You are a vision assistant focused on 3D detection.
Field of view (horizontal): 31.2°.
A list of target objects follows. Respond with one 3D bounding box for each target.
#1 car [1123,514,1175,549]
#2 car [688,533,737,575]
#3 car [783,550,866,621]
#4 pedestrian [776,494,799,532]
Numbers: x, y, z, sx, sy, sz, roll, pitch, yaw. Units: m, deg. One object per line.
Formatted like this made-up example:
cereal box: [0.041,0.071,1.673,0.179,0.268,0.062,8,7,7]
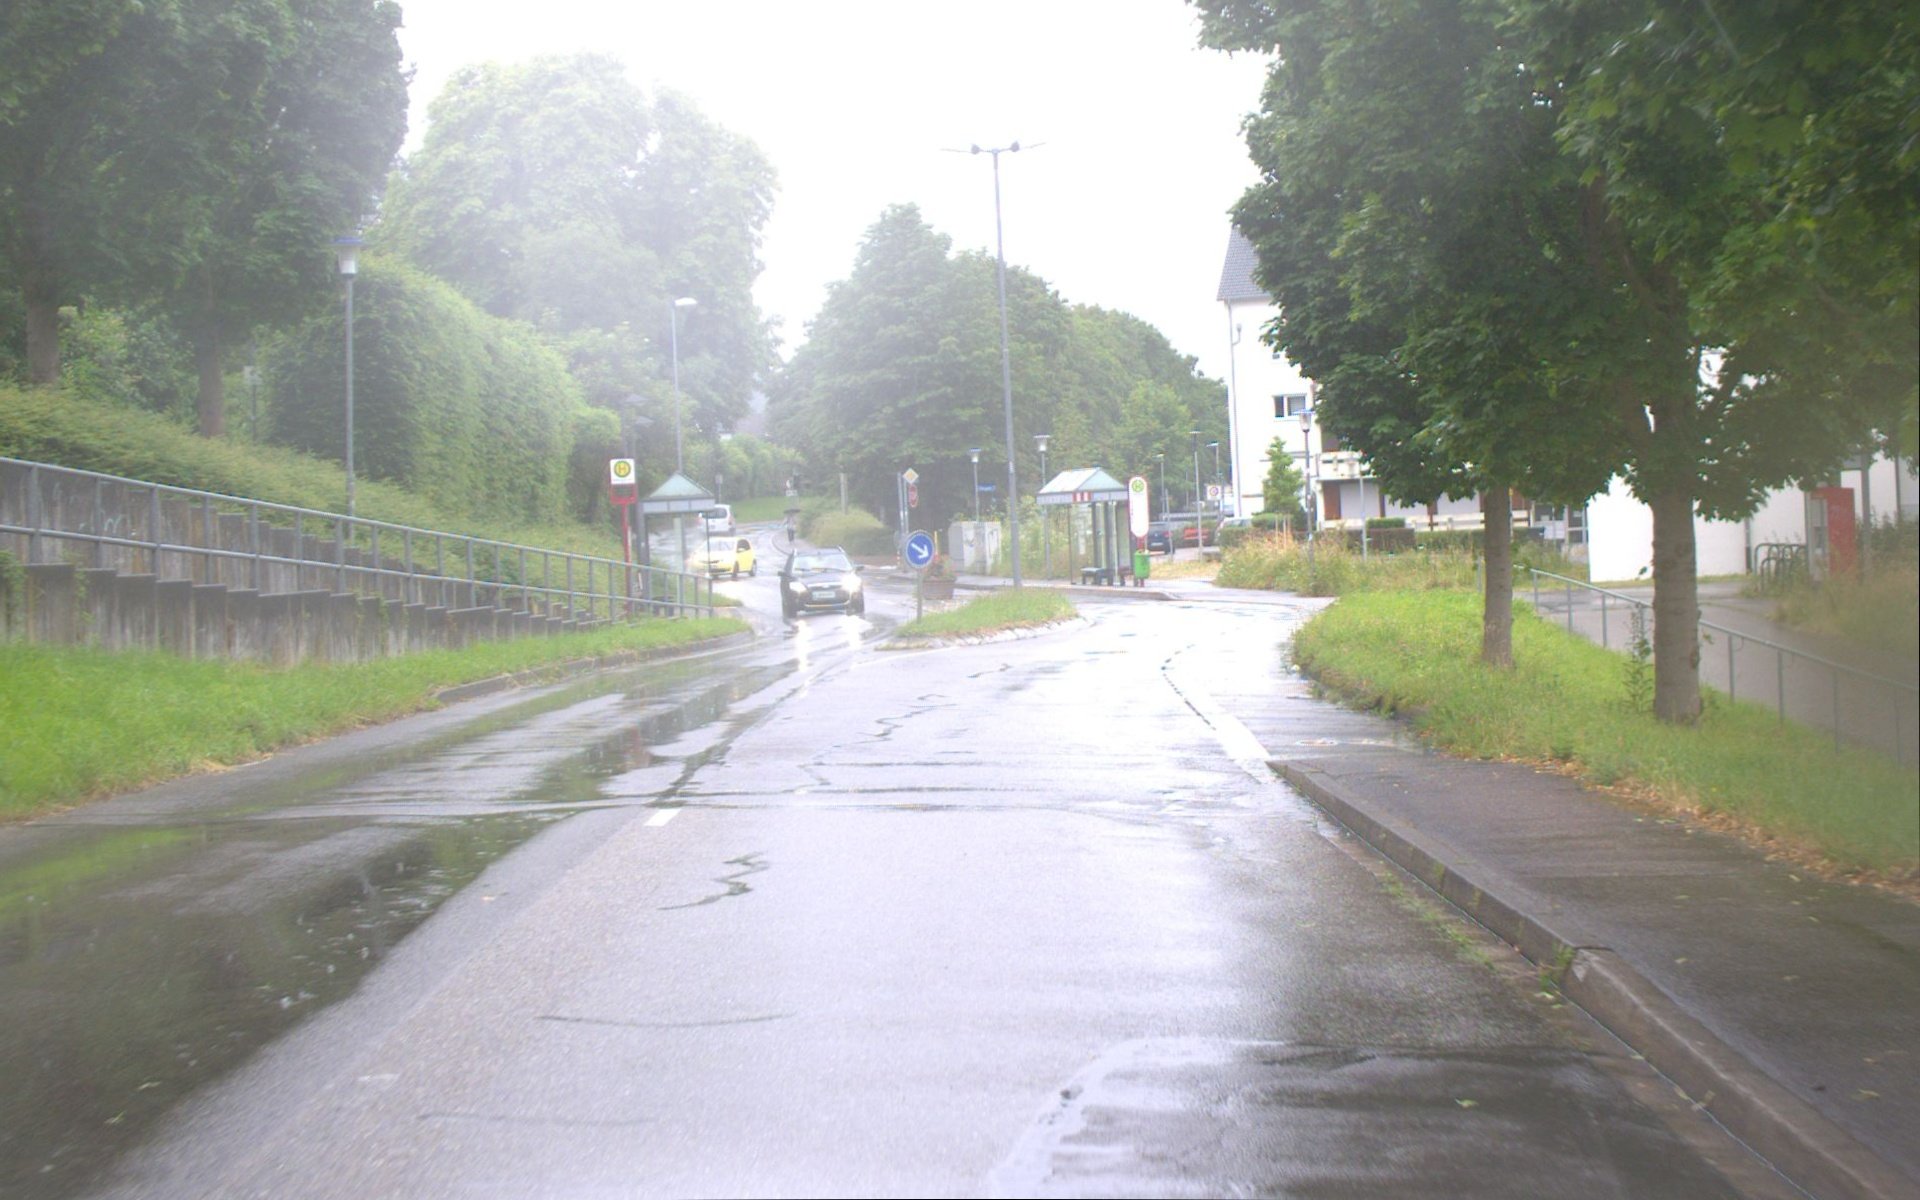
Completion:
car: [8.512,-3.100,155.239,1.688,1.433,3.613,-2,3,-7]
car: [-8.983,-1.677,124.488,1.572,1.405,3.475,-4,2,-6]
car: [-3.110,-0.360,79.366,1.760,1.498,4.142,-3,1,-2]
pedestrian: [-8.074,-4.069,160.600,0.920,1.669,1.057,-4,3,-6]
